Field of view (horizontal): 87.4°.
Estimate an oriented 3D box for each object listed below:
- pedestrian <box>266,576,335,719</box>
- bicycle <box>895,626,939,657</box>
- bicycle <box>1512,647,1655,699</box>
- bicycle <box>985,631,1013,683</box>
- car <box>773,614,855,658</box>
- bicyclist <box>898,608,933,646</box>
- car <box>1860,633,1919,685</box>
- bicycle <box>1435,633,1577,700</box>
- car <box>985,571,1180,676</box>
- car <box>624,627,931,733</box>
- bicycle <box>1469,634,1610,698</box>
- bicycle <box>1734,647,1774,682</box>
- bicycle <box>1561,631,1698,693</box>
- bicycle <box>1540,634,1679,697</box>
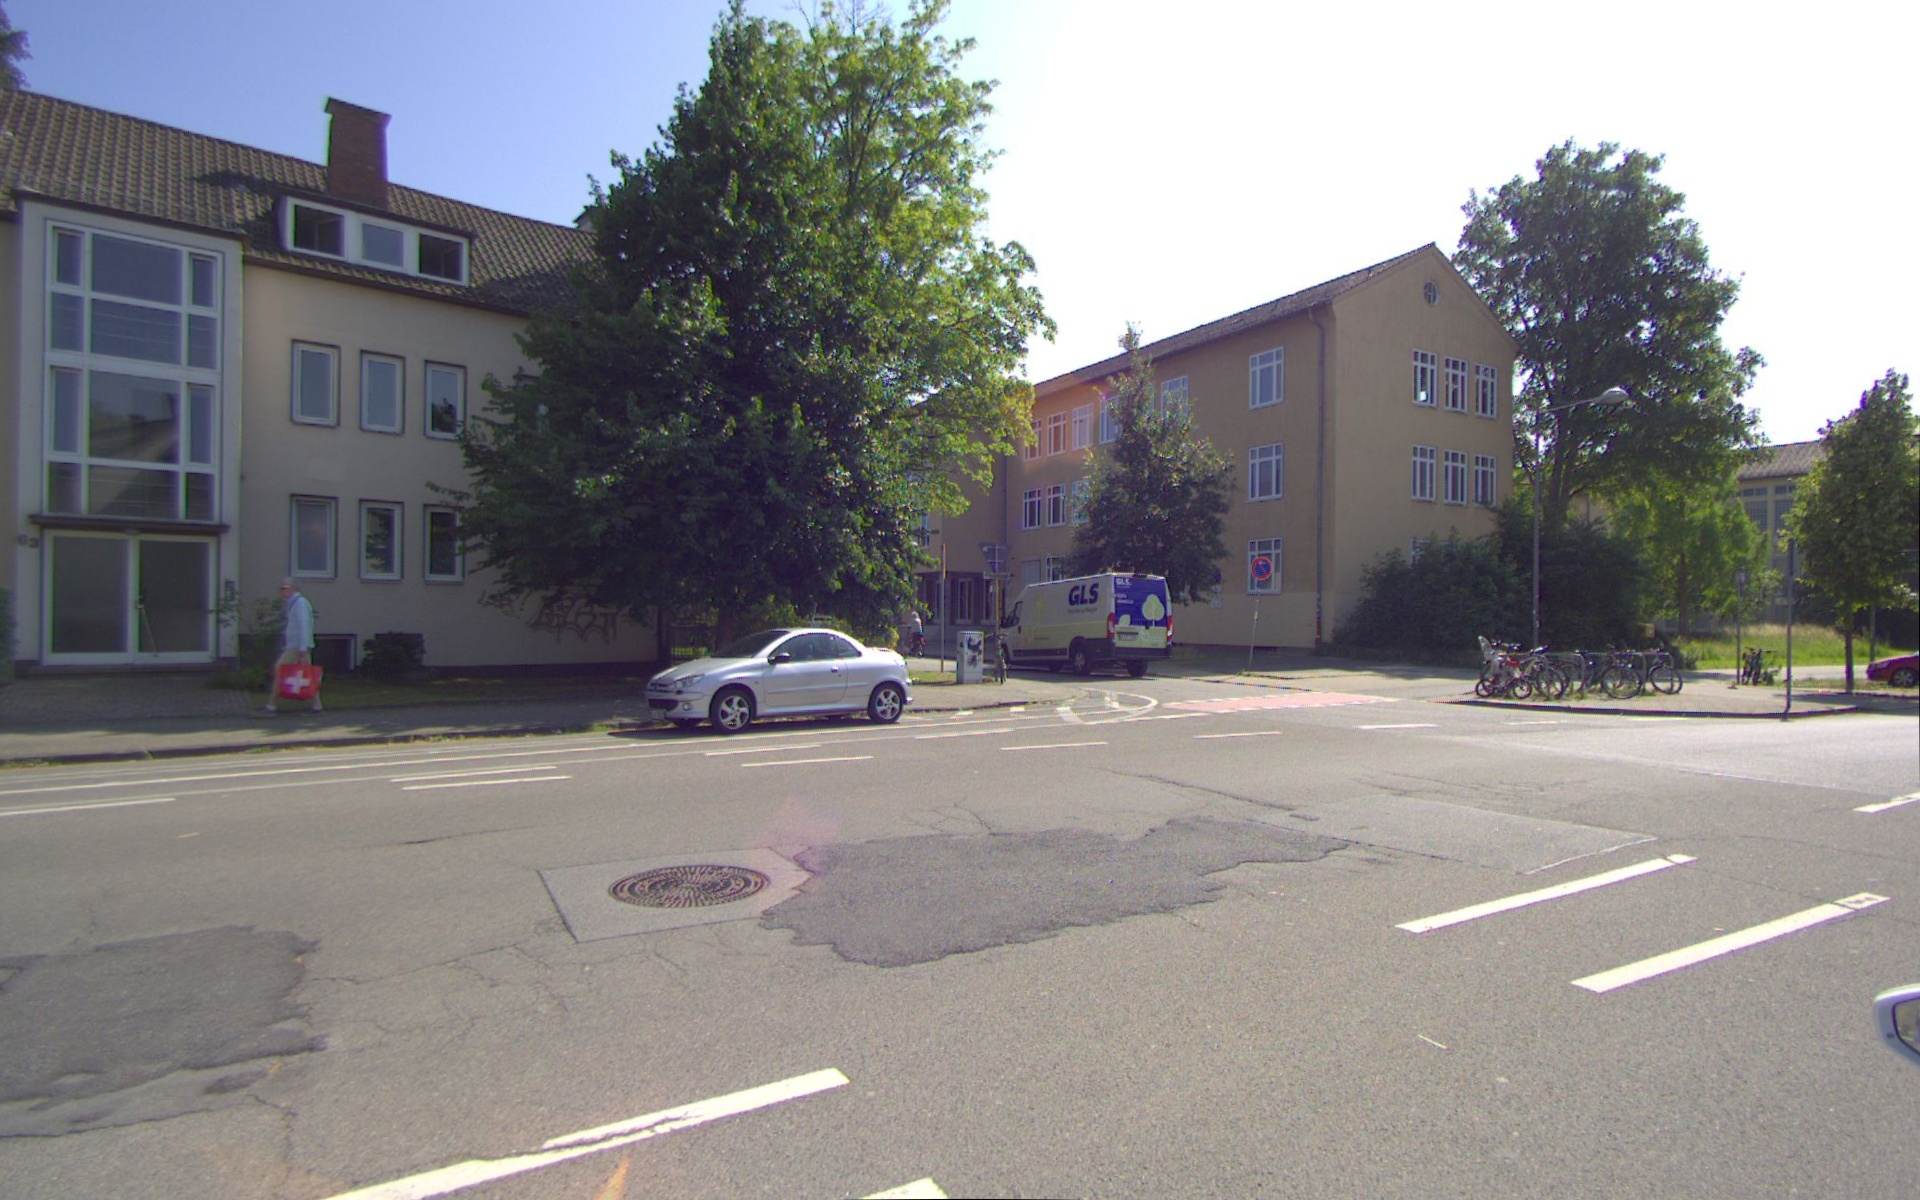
[{"bbox_3d":[-8.723,0.608,13.302,0.717,1.803,0.968,1,-1,-33],"label":"pedestrian"},{"bbox_3d":[-1.643,1.529,37.584,0.945,1.128,2.542,0,-2,-19],"label":"bicycle"},{"bbox_3d":[13.270,1.523,21.485,0.731,1.000,2.531,1,-2,-32],"label":"bicycle"},{"bbox_3d":[0.891,1.250,22.503,0.370,1.095,1.717,0,-1,11],"label":"bicycle"},{"bbox_3d":[-5.571,1.335,38.043,1.729,1.572,3.763,1,-1,-32],"label":"car"},{"bbox_3d":[-1.670,1.012,37.624,0.946,1.422,1.349,0,-1,-22],"label":"bicyclist"},{"bbox_3d":[29.457,1.749,29.844,3.940,1.486,1.991,-1,-2,40],"label":"car"},{"bbox_3d":[11.150,1.321,20.624,0.731,1.273,2.531,1,-2,-32],"label":"bicycle"},{"bbox_3d":[3.172,0.667,27.740,2.255,2.557,6.090,1,-2,-28],"label":"car"},{"bbox_3d":[-2.493,1.025,14.197,3.964,1.283,1.707,1,-2,-38],"label":"car"},{"bbox_3d":[12.111,1.342,21.105,0.731,1.255,2.531,1,-2,-32],"label":"bicycle"},{"bbox_3d":[21.549,1.736,27.254,1.258,0.915,0.517,2,-2,-35],"label":"bicycle"},{"bbox_3d":[15.152,1.379,22.828,0.731,1.273,2.531,1,-1,-32],"label":"bicycle"},{"bbox_3d":[14.235,1.403,22.118,0.731,1.273,2.502,1,-2,-32],"label":"bicycle"}]
